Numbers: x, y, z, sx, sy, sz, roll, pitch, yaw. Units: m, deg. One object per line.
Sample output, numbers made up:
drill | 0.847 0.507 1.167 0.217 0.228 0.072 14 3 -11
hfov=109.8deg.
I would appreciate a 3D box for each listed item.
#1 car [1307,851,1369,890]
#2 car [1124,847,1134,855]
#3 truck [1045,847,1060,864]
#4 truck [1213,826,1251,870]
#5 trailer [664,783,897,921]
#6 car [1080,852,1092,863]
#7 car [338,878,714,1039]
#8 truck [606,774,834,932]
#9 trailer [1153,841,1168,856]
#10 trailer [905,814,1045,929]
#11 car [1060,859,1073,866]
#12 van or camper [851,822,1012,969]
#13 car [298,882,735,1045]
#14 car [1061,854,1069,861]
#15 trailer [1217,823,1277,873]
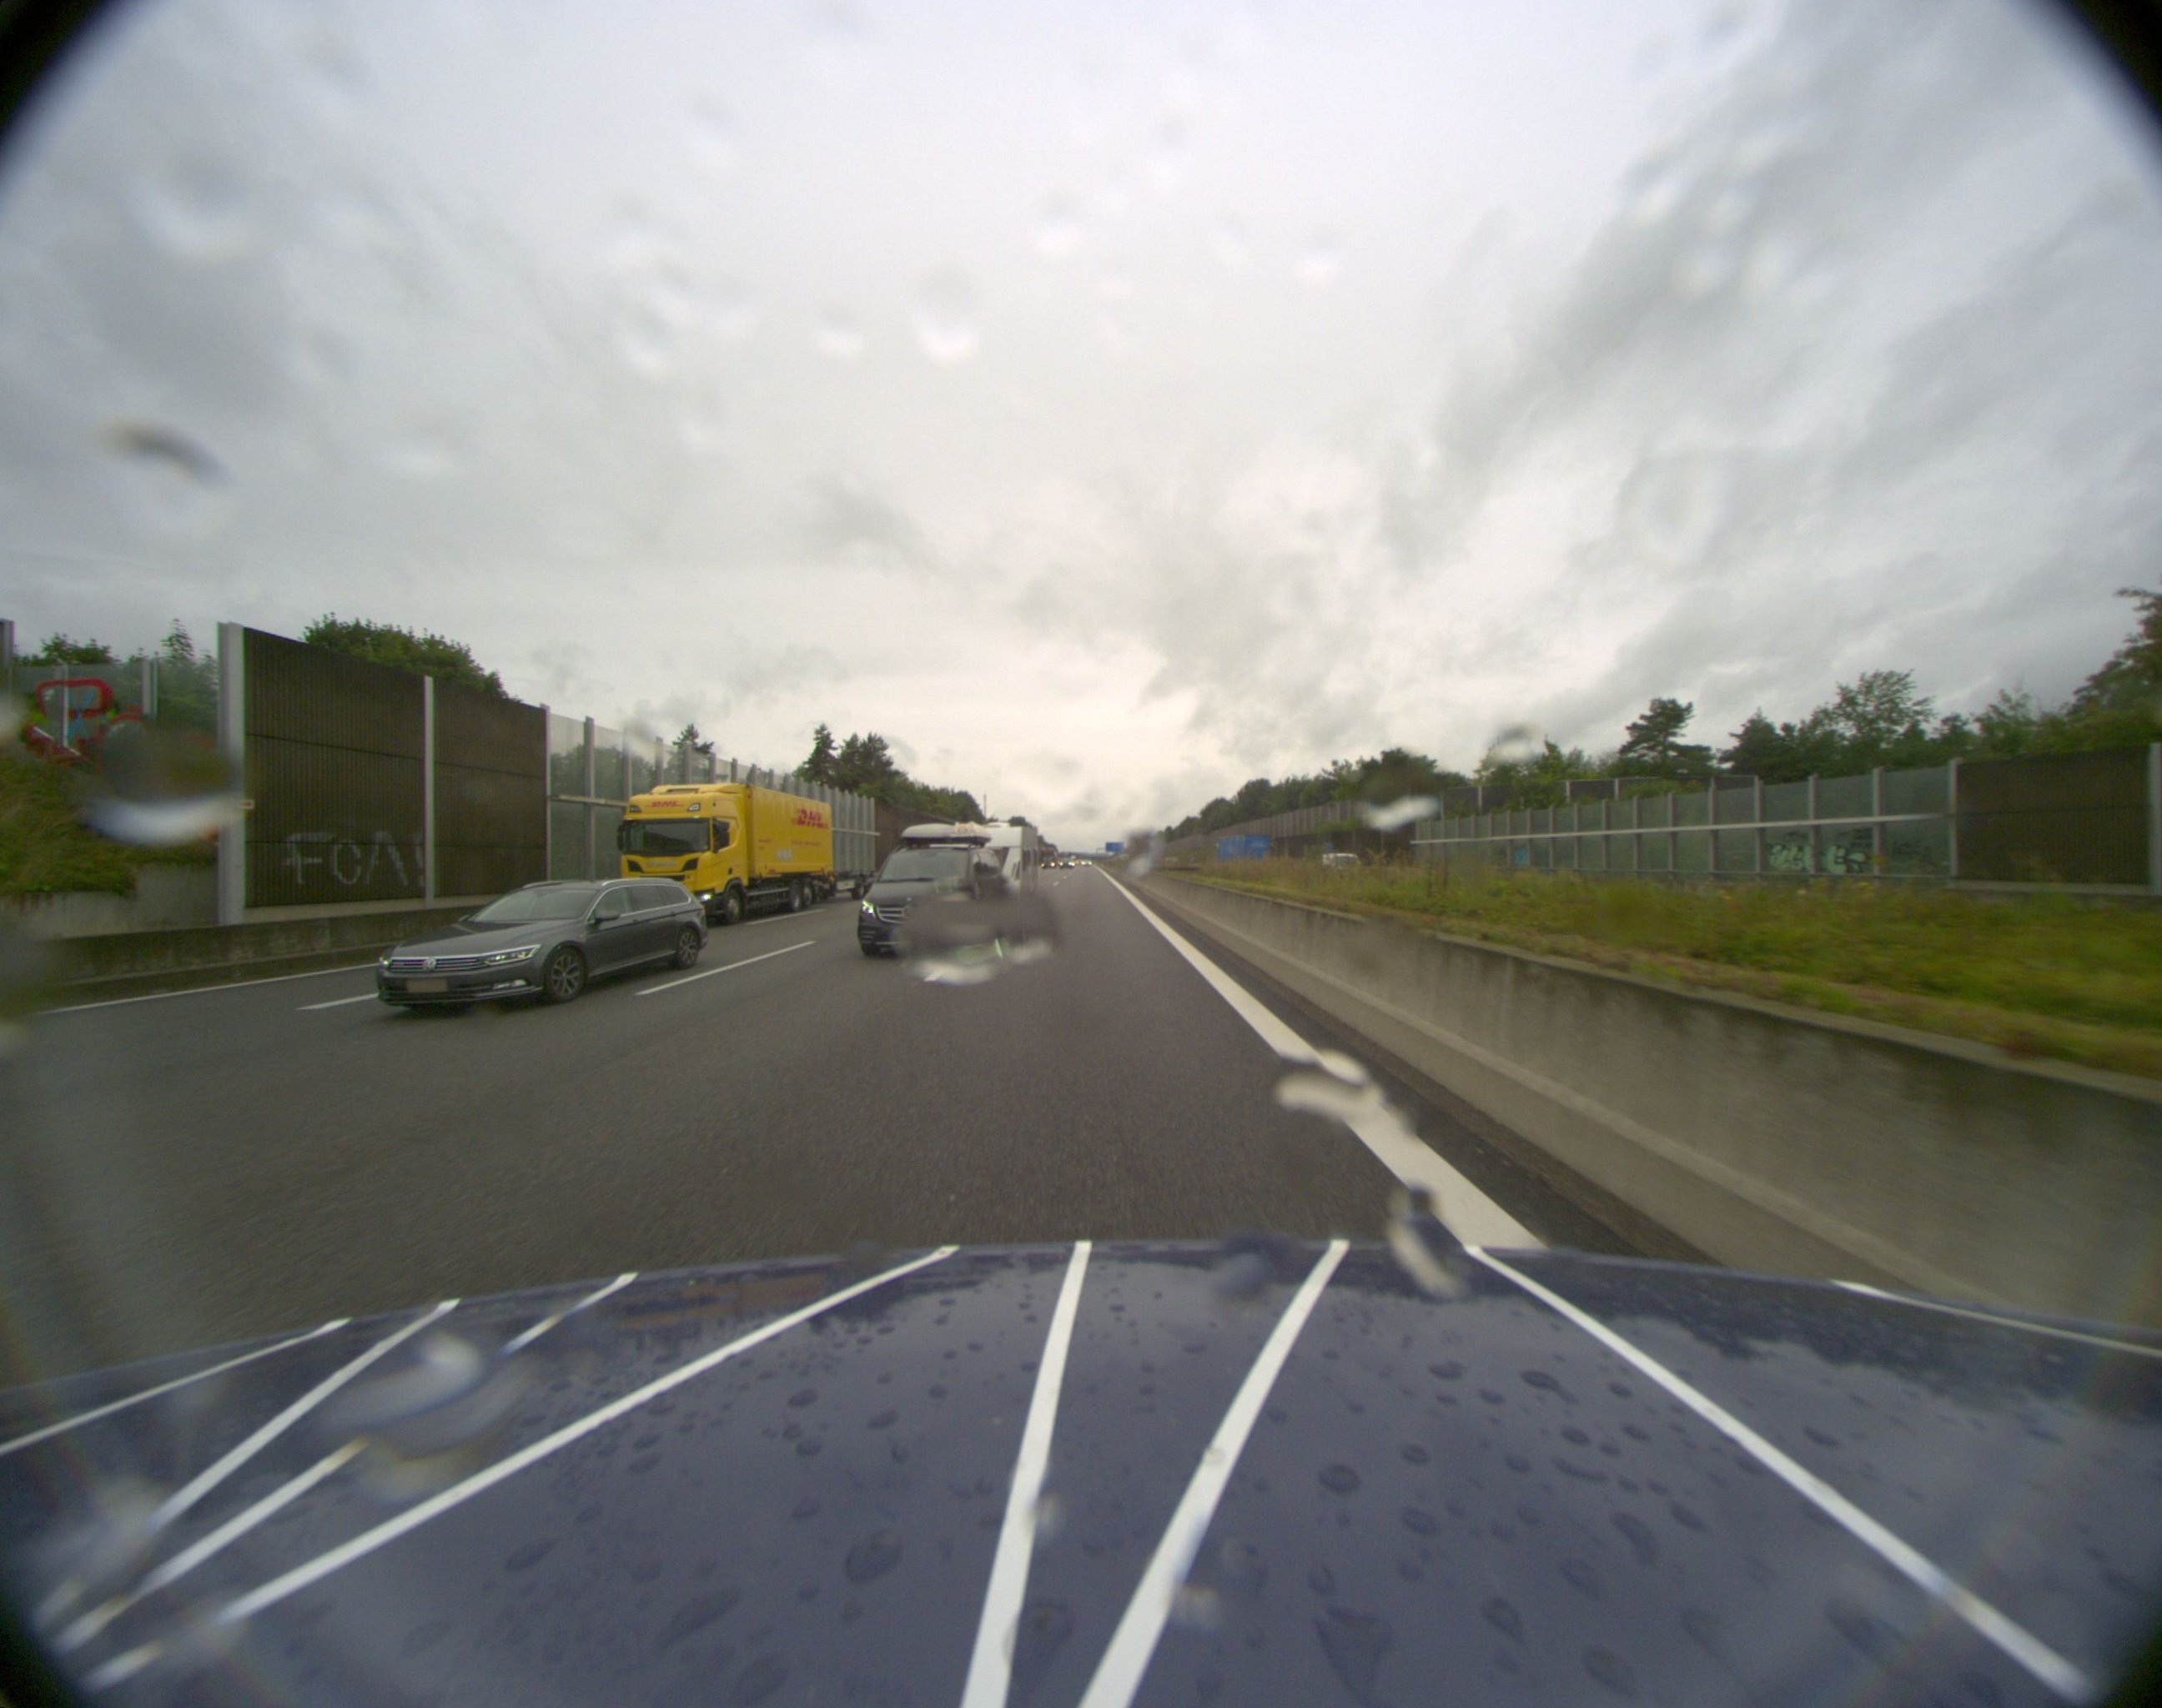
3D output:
car | 14.109 0.875 41.888 1.998 2.002 4.197 -2 0 1
car | 13.366 -0.773 211.601 2.379 2.180 7.723 -1 0 1
truck | -5.528 0.279 147.525 2.617 3.218 4.632 -1 0 1
truck | 17.682 -0.676 89.421 3.196 4.830 5.418 -2 0 0
trailer | -10.780 -0.086 30.494 2.658 3.930 16.684 -2 0 0
car | 1.153 0.770 173.151 2.680 2.340 5.807 -1 0 -1
car | -6.833 1.152 10.115 1.667 1.448 4.470 -2 0 0
truck | -10.744 -0.038 24.116 2.692 3.935 9.325 -2 0 0
trailer | 20.193 -1.380 194.048 2.733 3.662 12.563 -1 0 1
trailer | -2.644 0.426 21.393 2.728 2.626 7.512 -1 0 1
car | -2.342 1.391 126.166 2.061 1.020 3.438 -2 0 1
van or camper | -2.608 0.662 14.805 1.895 2.256 5.679 -2 0 1
car | -6.973 1.215 10.409 1.944 1.419 5.289 -3 0 1
car | -4.464 0.972 215.017 1.998 1.747 4.000 -1 0 1
trailer | 17.763 -0.650 82.574 3.225 4.857 13.525 -2 0 -1
